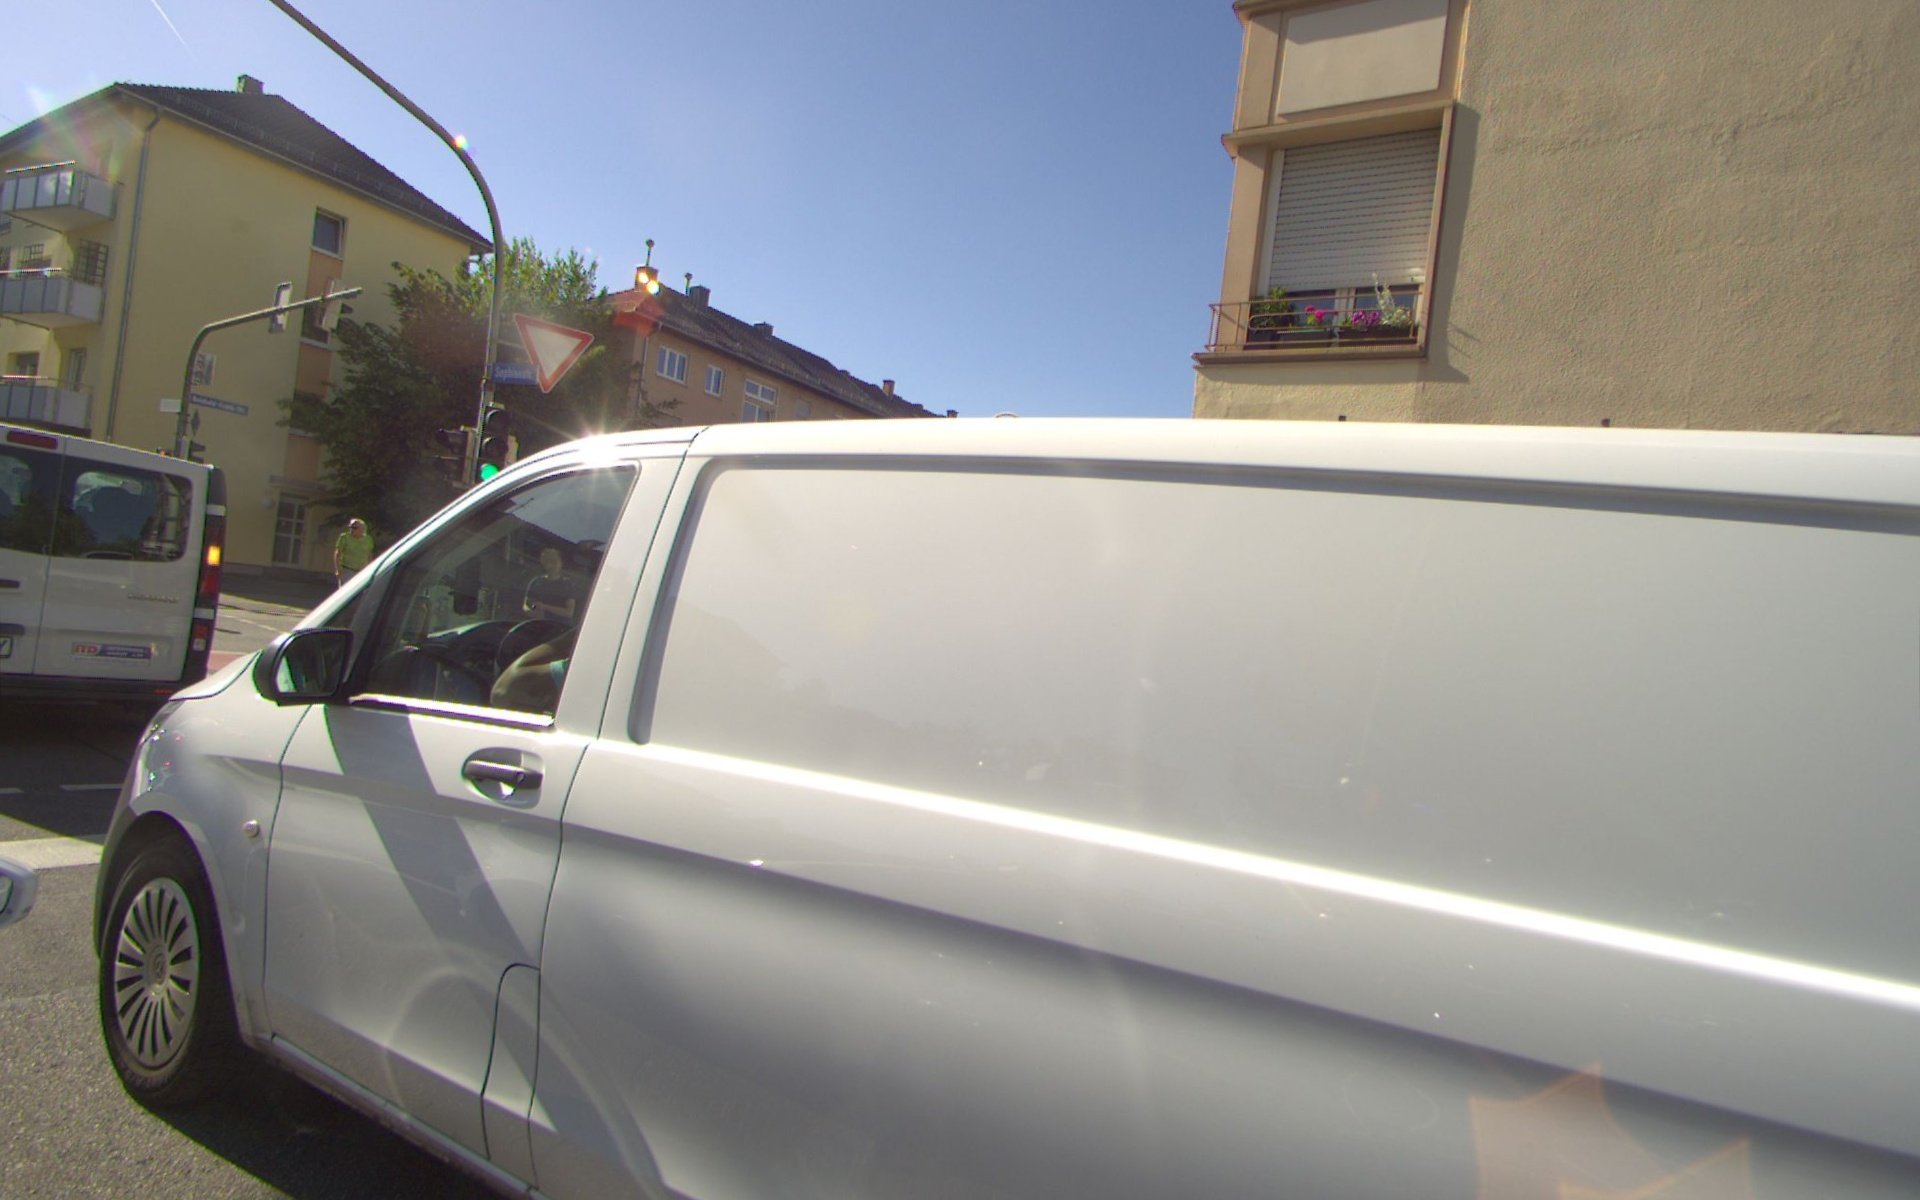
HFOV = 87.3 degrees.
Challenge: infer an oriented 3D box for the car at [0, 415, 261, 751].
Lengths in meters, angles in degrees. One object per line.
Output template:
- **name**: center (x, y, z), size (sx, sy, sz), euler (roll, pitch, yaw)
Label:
- **car**: center (-7.336, -0.243, 7.860), size (4.990, 1.962, 1.966), euler (6, -3, 44)

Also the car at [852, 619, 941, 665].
- **car**: center (-2.478, 1.686, 39.828), size (1.658, 1.429, 3.516), euler (7, -1, 32)

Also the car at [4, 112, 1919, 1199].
- **car**: center (-0.116, 0.425, 2.518), size (4.752, 1.832, 1.972), euler (6, -1, 31)

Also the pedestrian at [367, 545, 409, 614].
- **pedestrian**: center (-13.820, -0.491, 24.288), size (0.530, 1.590, 0.539), euler (7, 0, 32)

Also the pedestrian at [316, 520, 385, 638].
- **pedestrian**: center (-9.695, -0.323, 16.004), size (0.612, 1.783, 0.526), euler (7, 0, 30)

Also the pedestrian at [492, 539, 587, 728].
- **pedestrian**: center (-4.335, 0.337, 10.349), size (0.600, 1.844, 0.623), euler (7, 0, -34)

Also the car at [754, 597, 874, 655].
- **car**: center (-5.106, 0.963, 35.688), size (1.967, 1.592, 3.993), euler (7, -1, 32)

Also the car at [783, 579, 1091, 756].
- **car**: center (-0.098, 0.863, 12.524), size (1.795, 1.682, 3.993), euler (7, -1, 32)
